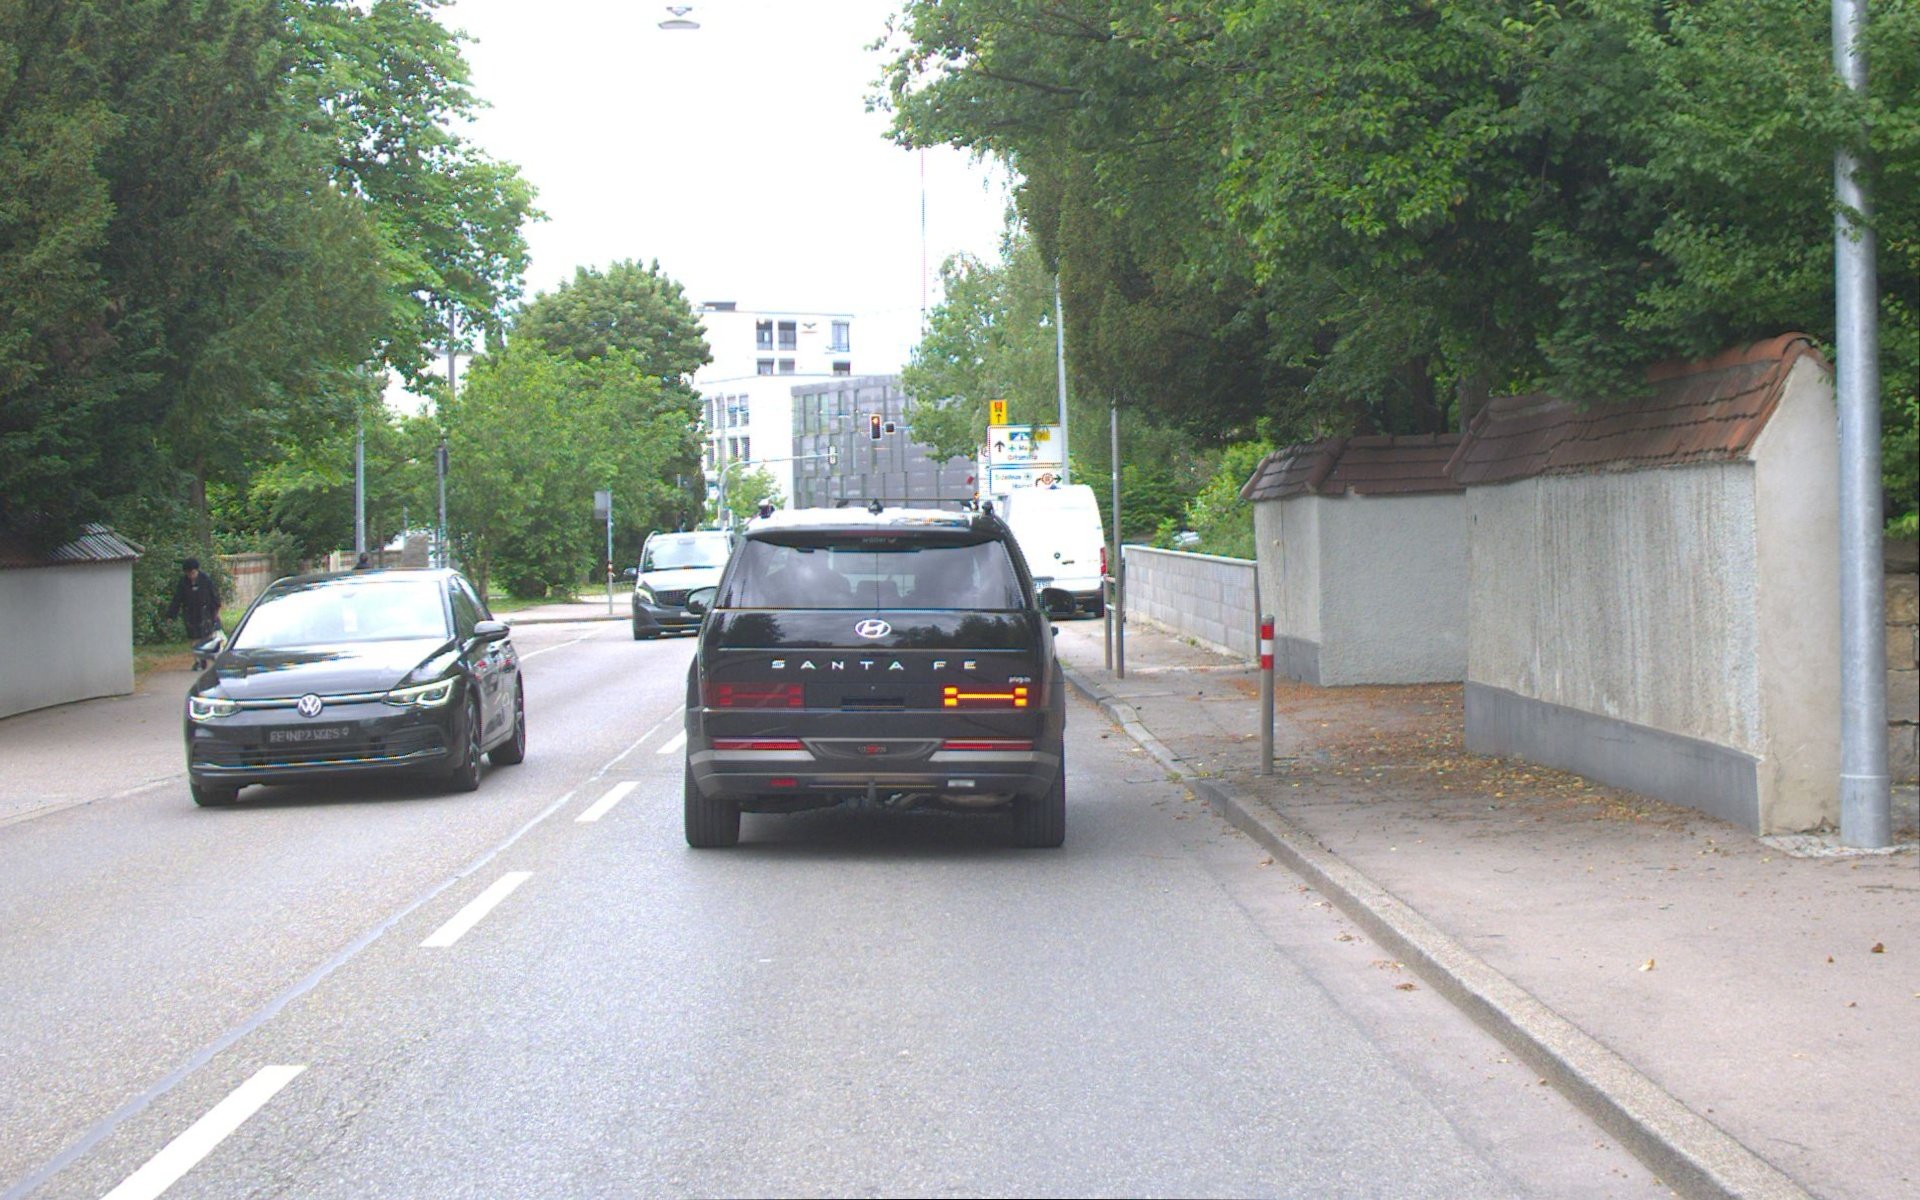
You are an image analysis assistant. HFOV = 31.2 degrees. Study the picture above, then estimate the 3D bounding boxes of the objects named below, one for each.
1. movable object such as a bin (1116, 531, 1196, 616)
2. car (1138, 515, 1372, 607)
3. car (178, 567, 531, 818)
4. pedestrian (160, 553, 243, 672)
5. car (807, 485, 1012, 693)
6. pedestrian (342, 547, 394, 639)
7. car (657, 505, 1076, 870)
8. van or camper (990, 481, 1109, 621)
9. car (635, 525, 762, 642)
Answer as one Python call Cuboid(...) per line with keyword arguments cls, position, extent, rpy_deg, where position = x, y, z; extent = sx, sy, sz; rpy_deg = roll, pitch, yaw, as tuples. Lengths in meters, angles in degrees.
Cuboid(cls="movable object such as a bin", position=(3.465, -0.475, 60.949), extent=(1.299, 1.445, 1.181), rpy_deg=(-2, 1, 0))
Cuboid(cls="car", position=(5.723, -0.771, 67.074), extent=(4.394, 1.646, 1.830), rpy_deg=(-2, 1, 1))
Cuboid(cls="car", position=(-3.906, 0.537, 22.766), extent=(1.785, 1.423, 4.001), rpy_deg=(-2, 1, -3))
Cuboid(cls="pedestrian", position=(-10.181, 0.167, 46.177), extent=(0.925, 1.555, 0.902), rpy_deg=(2, -1, -5))
Cuboid(cls="car", position=(-0.534, -0.141, 35.228), extent=(1.963, 1.994, 4.000), rpy_deg=(0, 1, -1))
Cuboid(cls="pedestrian", position=(-10.249, -0.125, 59.550), extent=(0.748, 1.572, 0.967), rpy_deg=(0, 1, -1))
Cuboid(cls="car", position=(-0.453, 0.374, 18.164), extent=(1.963, 1.705, 4.000), rpy_deg=(0, 1, 0))
Cuboid(cls="van or camper", position=(1.761, -1.016, 69.805), extent=(1.963, 2.619, 6.359), rpy_deg=(-3, 1, -1))
Cuboid(cls="car", position=(-4.610, -0.324, 61.221), extent=(1.890, 1.849, 5.084), rpy_deg=(-4, 1, -2))
